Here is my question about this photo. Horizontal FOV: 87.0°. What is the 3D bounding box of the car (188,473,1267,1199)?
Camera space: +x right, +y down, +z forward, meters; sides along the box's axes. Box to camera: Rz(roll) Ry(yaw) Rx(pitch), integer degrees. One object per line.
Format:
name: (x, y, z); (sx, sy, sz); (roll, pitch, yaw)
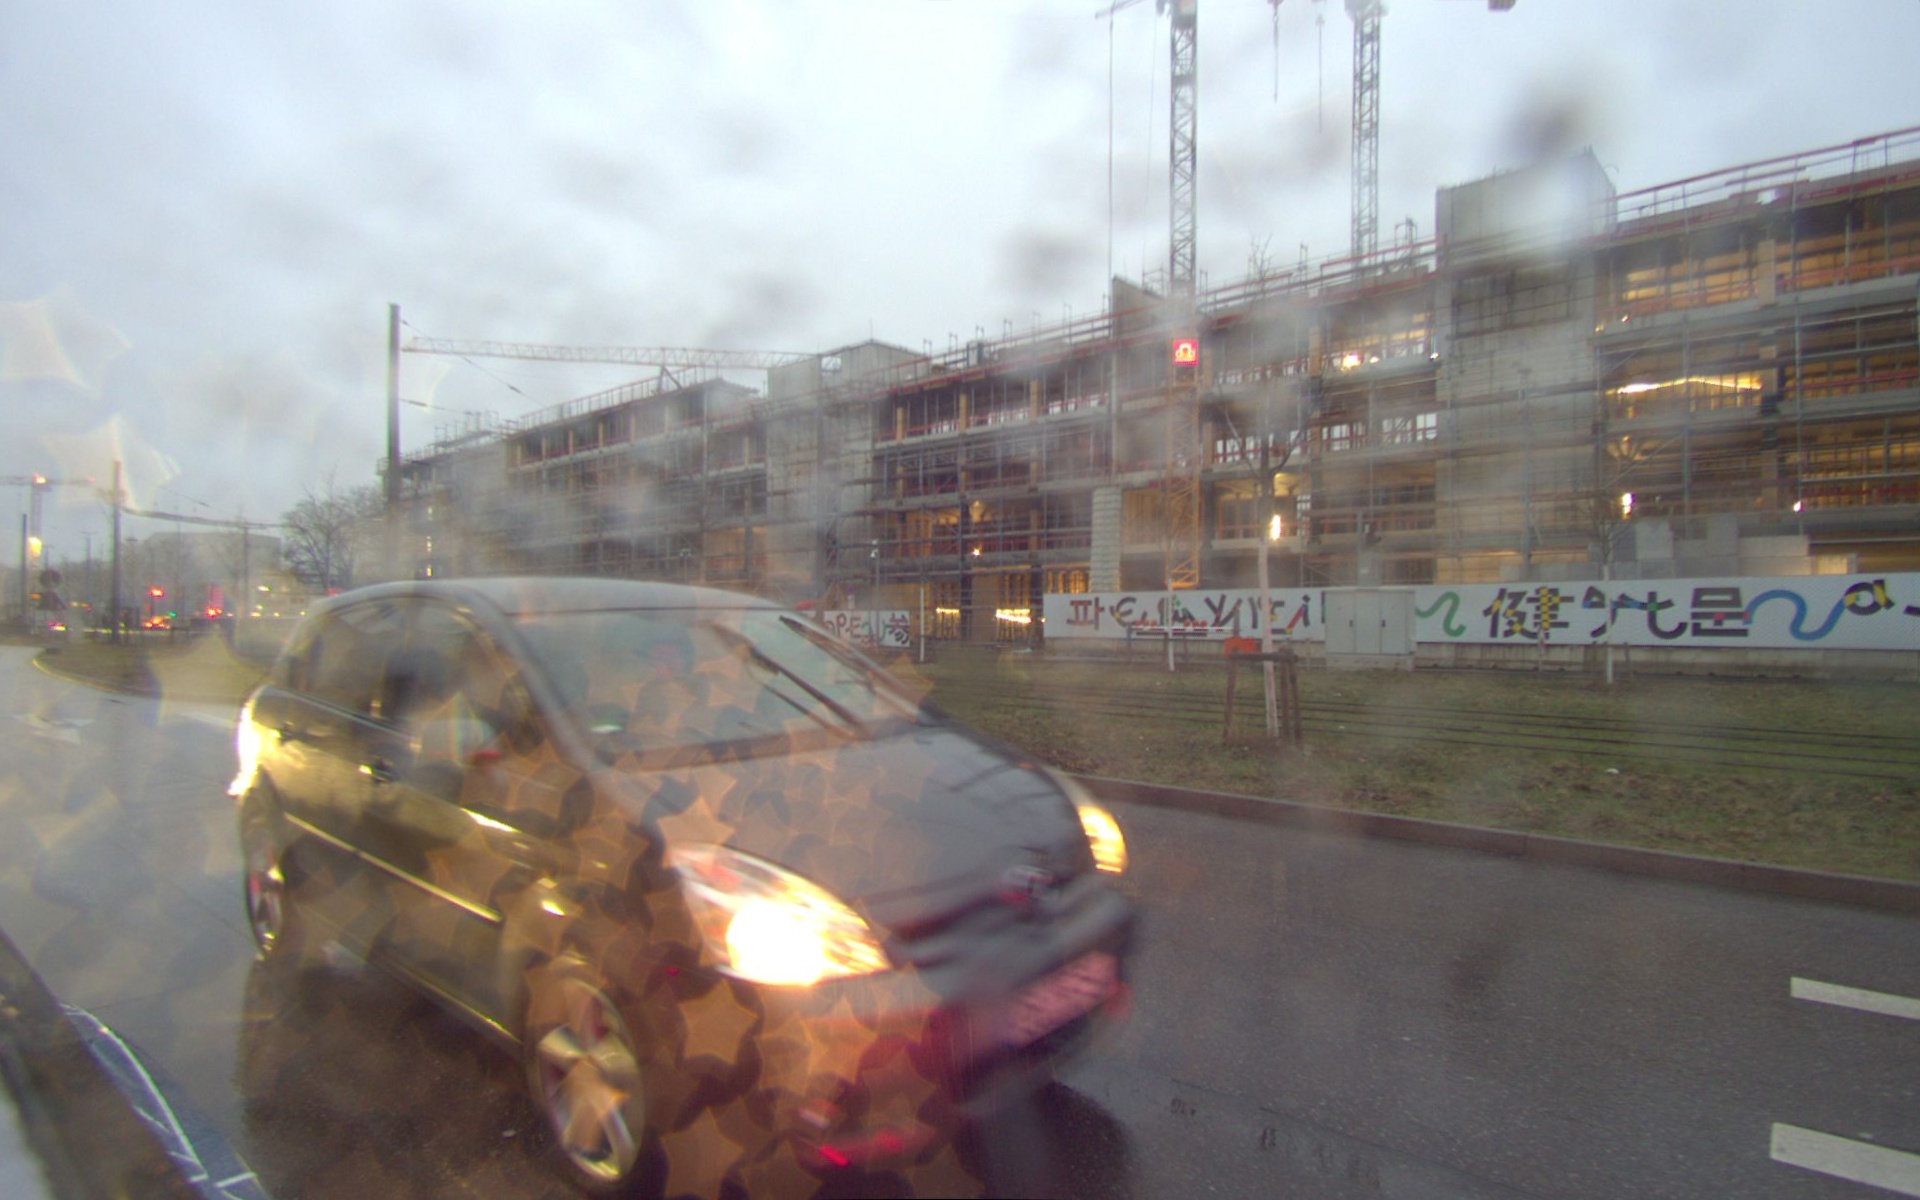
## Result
car: (-1.204, 0.644, 3.785); (4.131, 1.659, 1.793); (-1, -1, 39)
